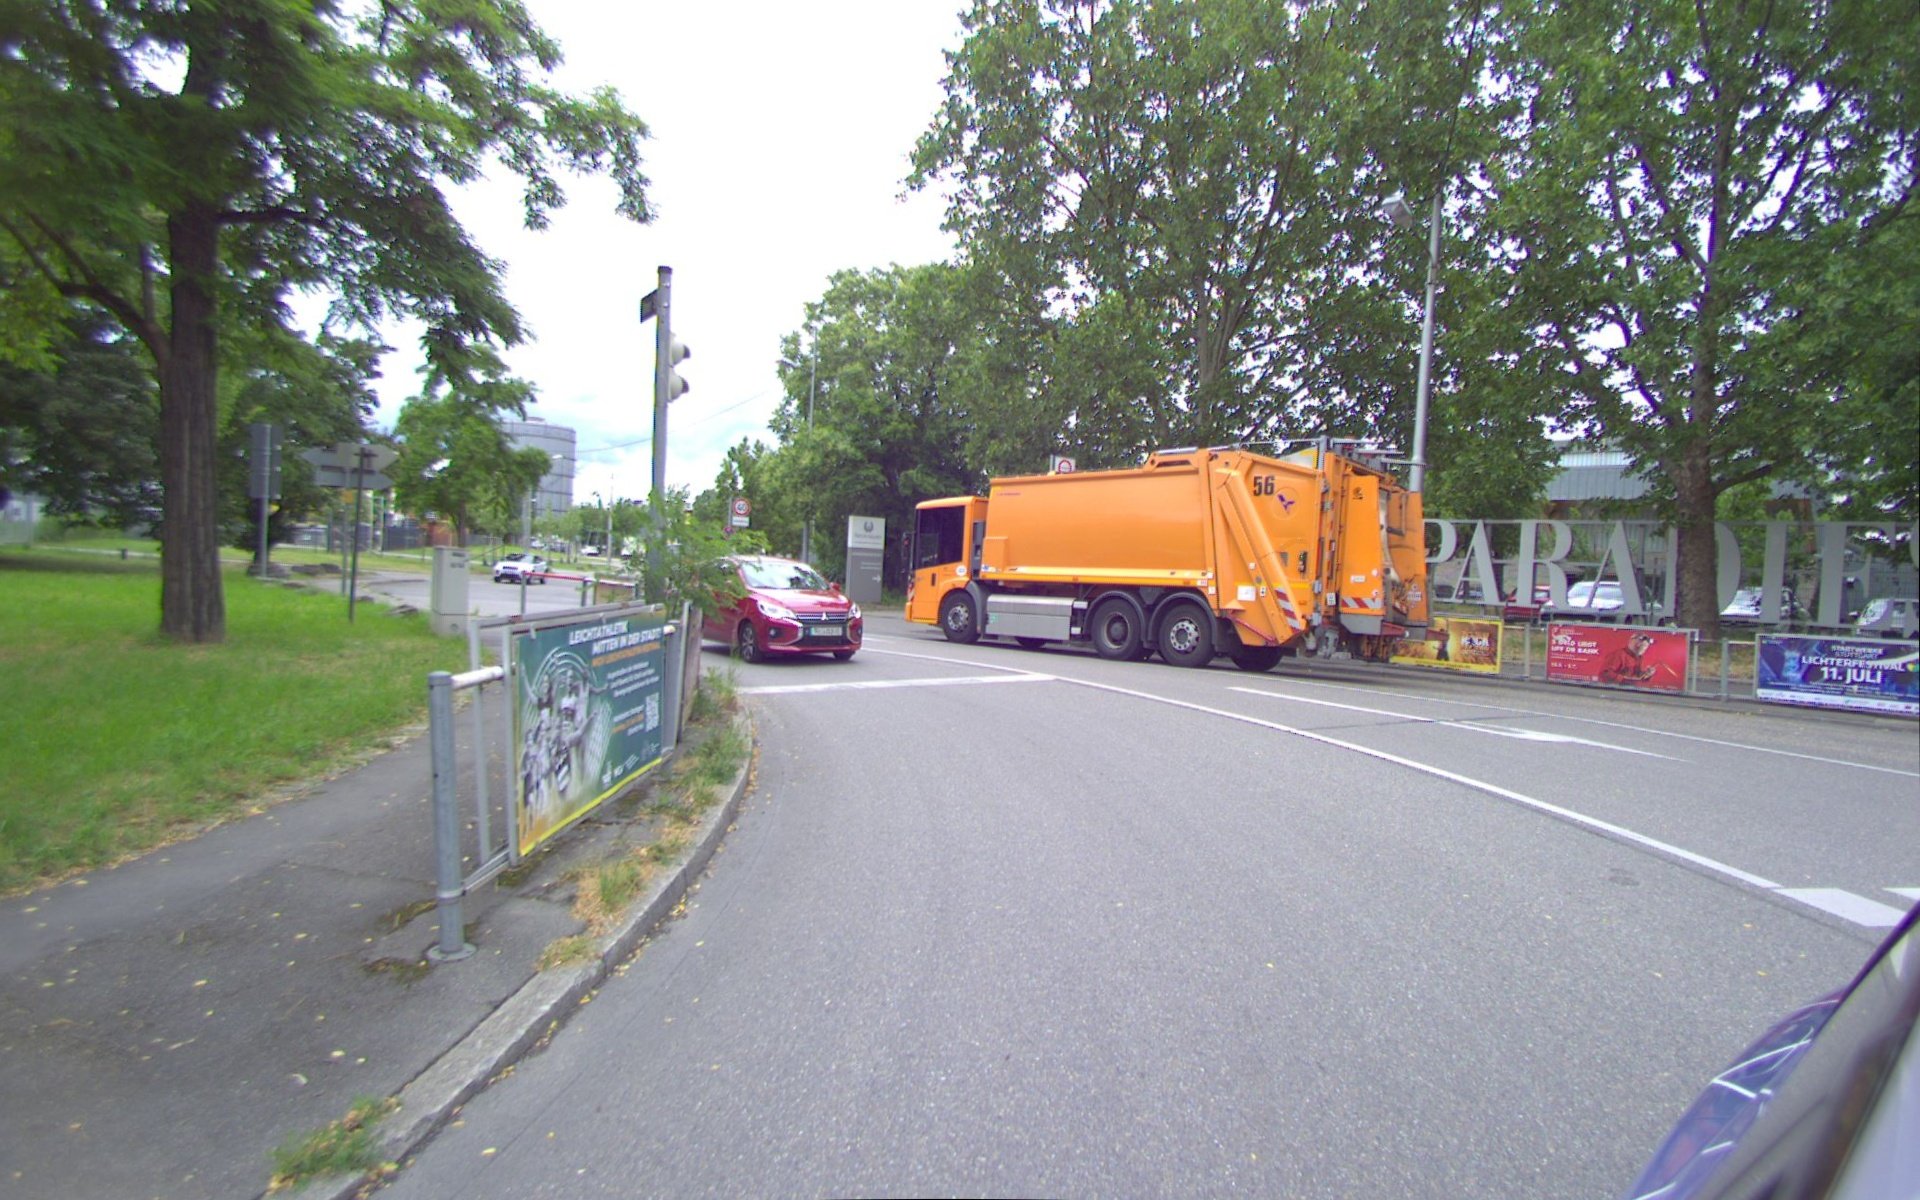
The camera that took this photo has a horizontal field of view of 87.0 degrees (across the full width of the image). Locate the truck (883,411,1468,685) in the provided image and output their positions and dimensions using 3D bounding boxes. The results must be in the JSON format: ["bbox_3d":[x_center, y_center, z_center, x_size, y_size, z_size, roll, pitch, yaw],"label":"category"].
[{"bbox_3d":[3.003,-0.859,17.992,2.750,3.570,10.402,2,1,-43],"label":"truck"}]

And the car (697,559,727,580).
[{"bbox_3d":[-18.897,-2.335,77.239,1.682,1.424,3.376,3,1,-6],"label":"car"}]

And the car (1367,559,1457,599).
[{"bbox_3d":[20.584,-0.941,45.975,4.560,1.580,1.997,2,2,-42],"label":"car"}]

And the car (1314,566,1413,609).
[{"bbox_3d":[17.059,-0.500,42.694,4.560,1.580,1.997,2,2,-42],"label":"car"}]

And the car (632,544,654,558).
[{"bbox_3d":[-37.553,-5.835,119.744,2.005,1.555,3.951,2,2,-24],"label":"car"}]

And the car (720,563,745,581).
[{"bbox_3d":[-19.751,-2.415,88.089,1.682,1.424,3.376,3,1,-6],"label":"car"}]

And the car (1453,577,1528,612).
[{"bbox_3d":[28.090,-0.278,53.561,4.560,1.580,1.997,2,2,-42],"label":"car"}]

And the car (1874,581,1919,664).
[{"bbox_3d":[20.883,0.539,21.629,3.932,1.633,1.589,2,2,-43],"label":"car"}]

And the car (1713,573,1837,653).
[{"bbox_3d":[19.093,0.329,23.646,4.244,1.633,1.589,2,2,-43],"label":"car"}]

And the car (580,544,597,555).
[{"bbox_3d":[-63.002,-8.553,171.572,2.006,1.555,3.947,4,1,-30],"label":"car"}]

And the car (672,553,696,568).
[{"bbox_3d":[-32.149,-4.629,117.931,2.005,1.555,3.951,2,2,-25],"label":"car"}]

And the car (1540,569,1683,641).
[{"bbox_3d":[17.046,0.154,26.392,4.445,1.633,1.882,3,2,-41],"label":"car"}]

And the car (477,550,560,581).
[{"bbox_3d":[-23.316,-1.857,53.617,2.018,1.554,3.926,1,4,15],"label":"car"}]

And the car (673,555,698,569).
[{"bbox_3d":[-32.059,-4.482,118.006,2.006,1.554,3.949,-1,4,-28],"label":"car"}]

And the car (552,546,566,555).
[{"bbox_3d":[-75.821,-9.406,191.452,2.005,1.555,3.950,4,1,-26],"label":"car"}]

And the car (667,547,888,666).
[{"bbox_3d":[-2.816,-0.002,15.005,1.701,1.483,3.835,0,3,-36],"label":"car"}]
